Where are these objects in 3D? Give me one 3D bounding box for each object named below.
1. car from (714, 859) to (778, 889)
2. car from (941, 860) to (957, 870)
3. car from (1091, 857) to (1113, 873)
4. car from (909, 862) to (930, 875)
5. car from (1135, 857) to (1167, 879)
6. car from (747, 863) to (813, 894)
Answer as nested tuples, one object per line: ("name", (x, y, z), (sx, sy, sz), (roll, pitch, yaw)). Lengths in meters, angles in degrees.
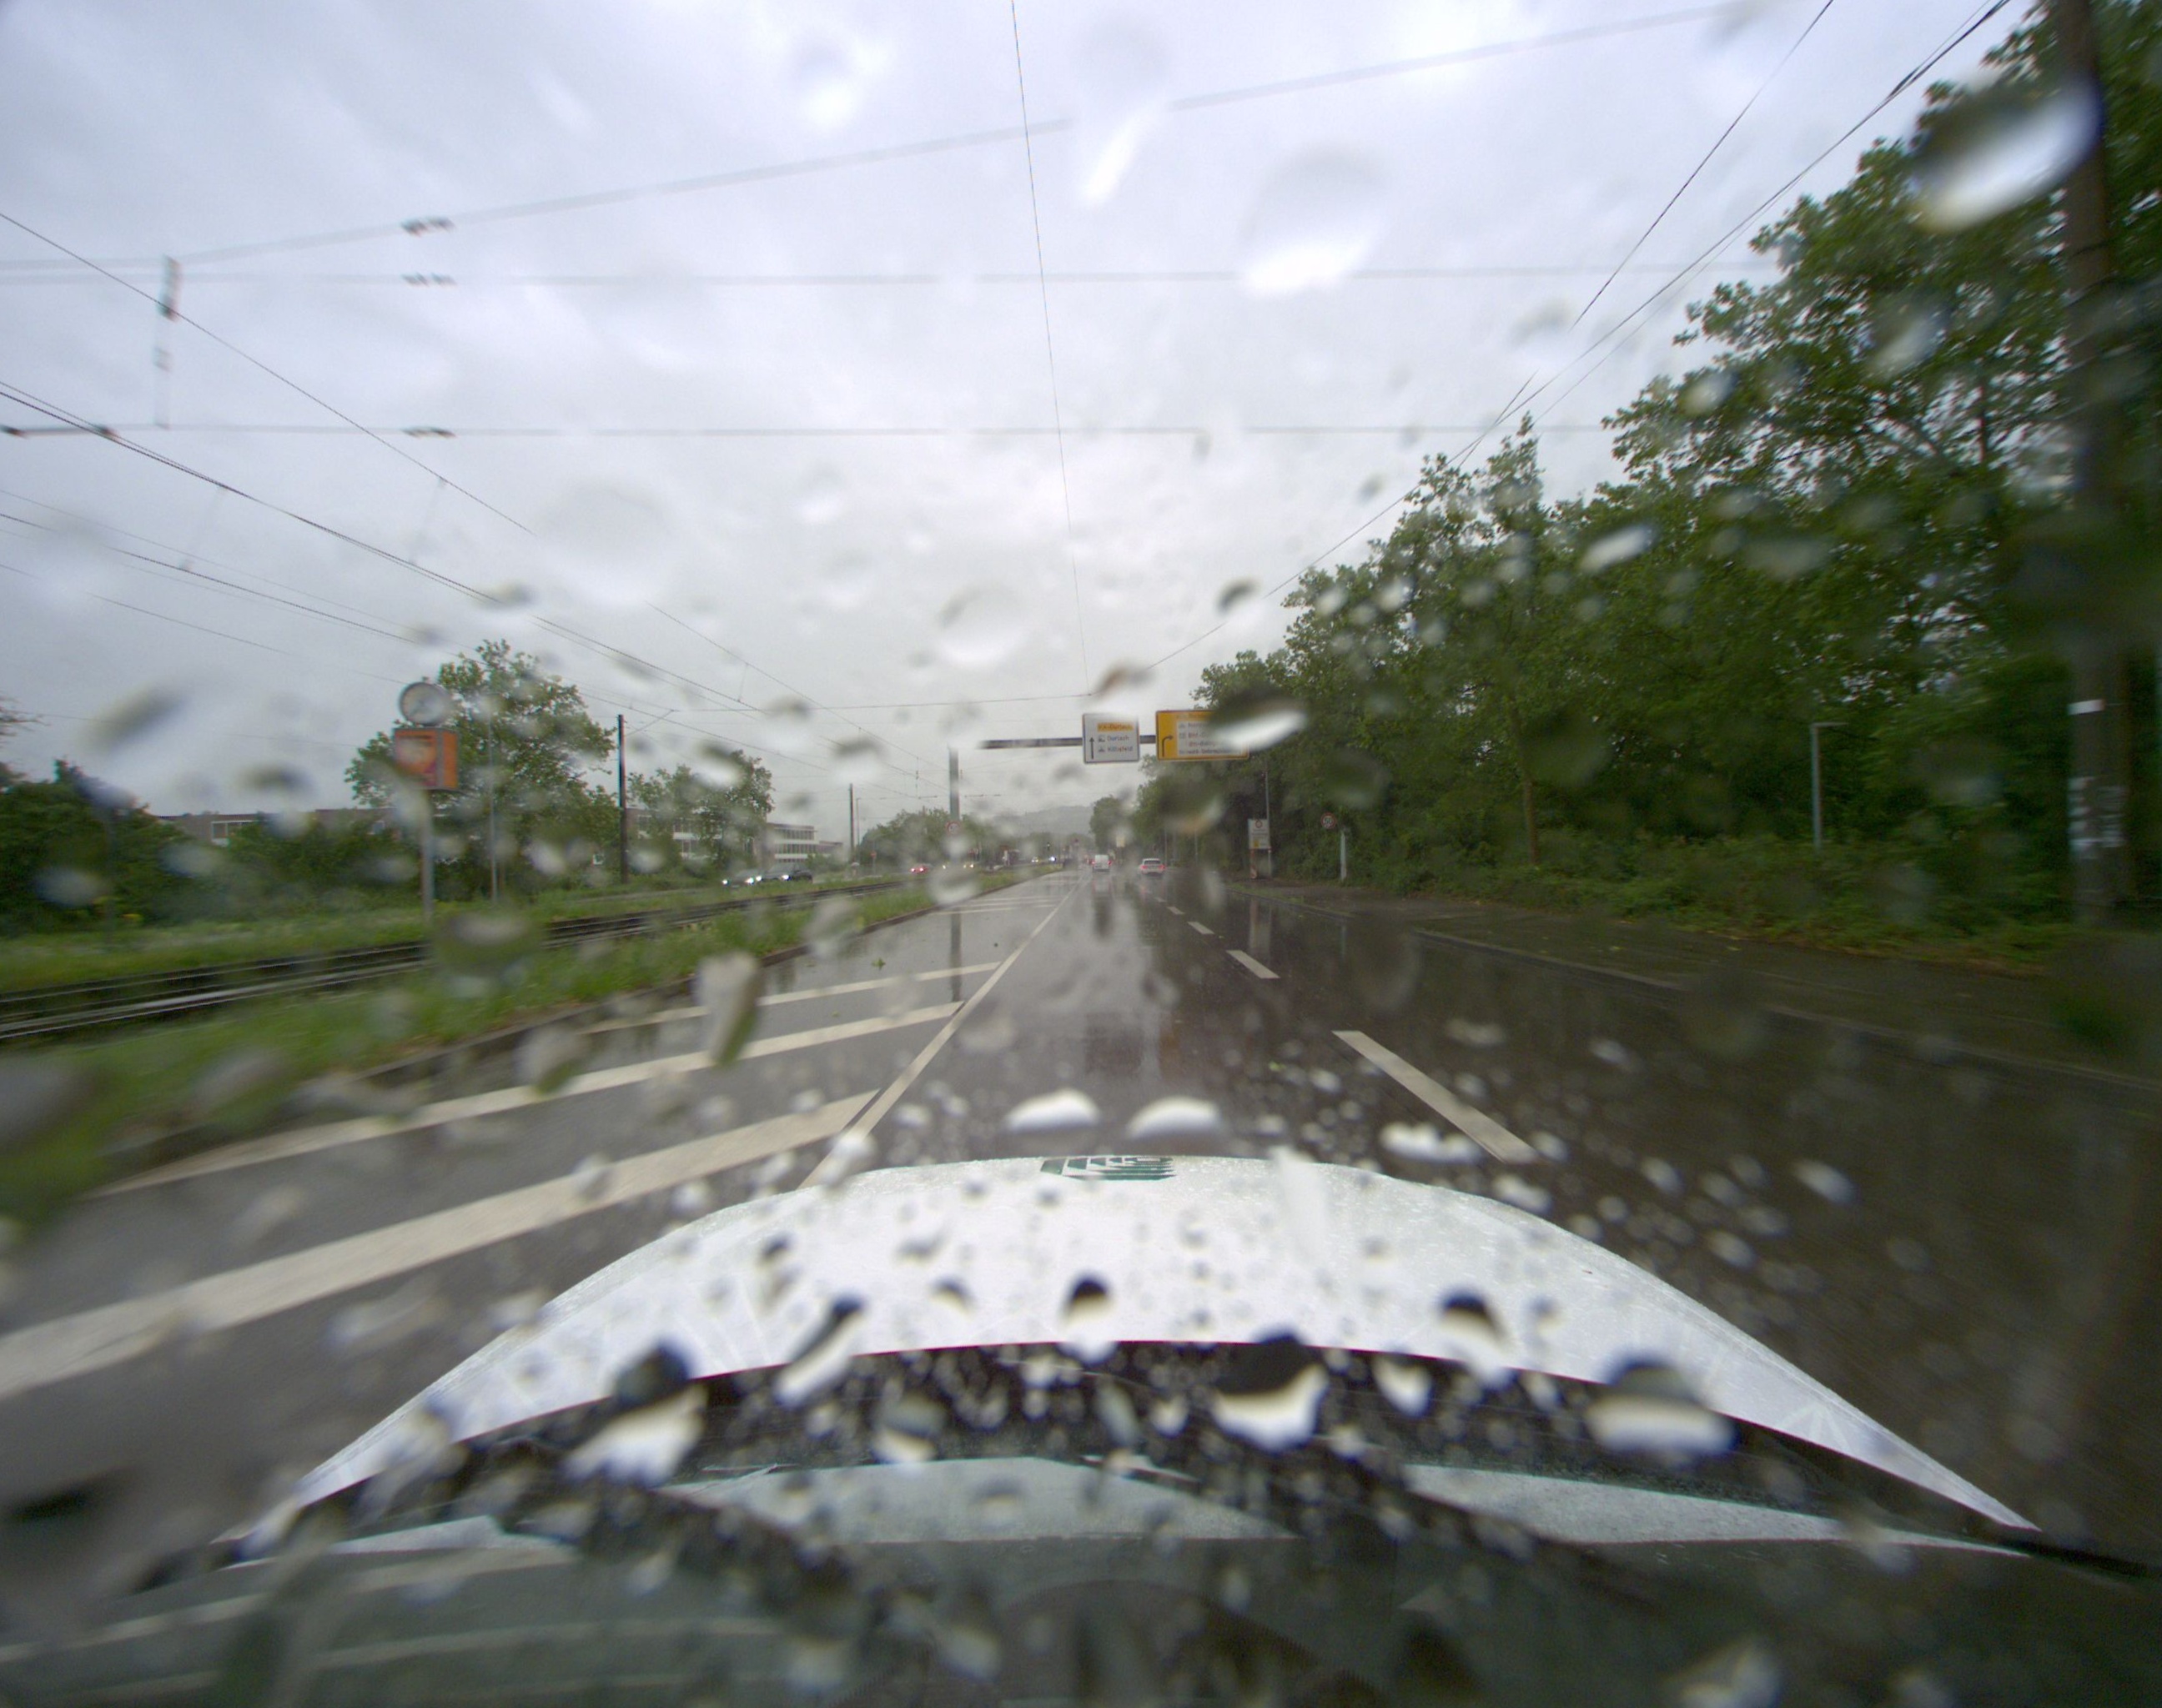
("car", (-20.078, 1.160, 49.074), (1.938, 1.686, 4.776), (-1, 0, -2))
("car", (-19.399, 1.600, 119.715), (1.714, 1.494, 4.000), (-1, 0, 0))
("car", (2.023, 1.068, 78.985), (2.070, 1.420, 4.001), (-1, 0, 1))
("car", (-19.548, 1.718, 98.505), (1.714, 1.494, 4.000), (-1, 0, 0))
("car", (5.024, 0.979, 58.812), (1.942, 1.536, 4.466), (-1, 0, 0))
("car", (-17.116, 1.349, 46.560), (1.937, 1.616, 4.986), (-1, 0, -1))
